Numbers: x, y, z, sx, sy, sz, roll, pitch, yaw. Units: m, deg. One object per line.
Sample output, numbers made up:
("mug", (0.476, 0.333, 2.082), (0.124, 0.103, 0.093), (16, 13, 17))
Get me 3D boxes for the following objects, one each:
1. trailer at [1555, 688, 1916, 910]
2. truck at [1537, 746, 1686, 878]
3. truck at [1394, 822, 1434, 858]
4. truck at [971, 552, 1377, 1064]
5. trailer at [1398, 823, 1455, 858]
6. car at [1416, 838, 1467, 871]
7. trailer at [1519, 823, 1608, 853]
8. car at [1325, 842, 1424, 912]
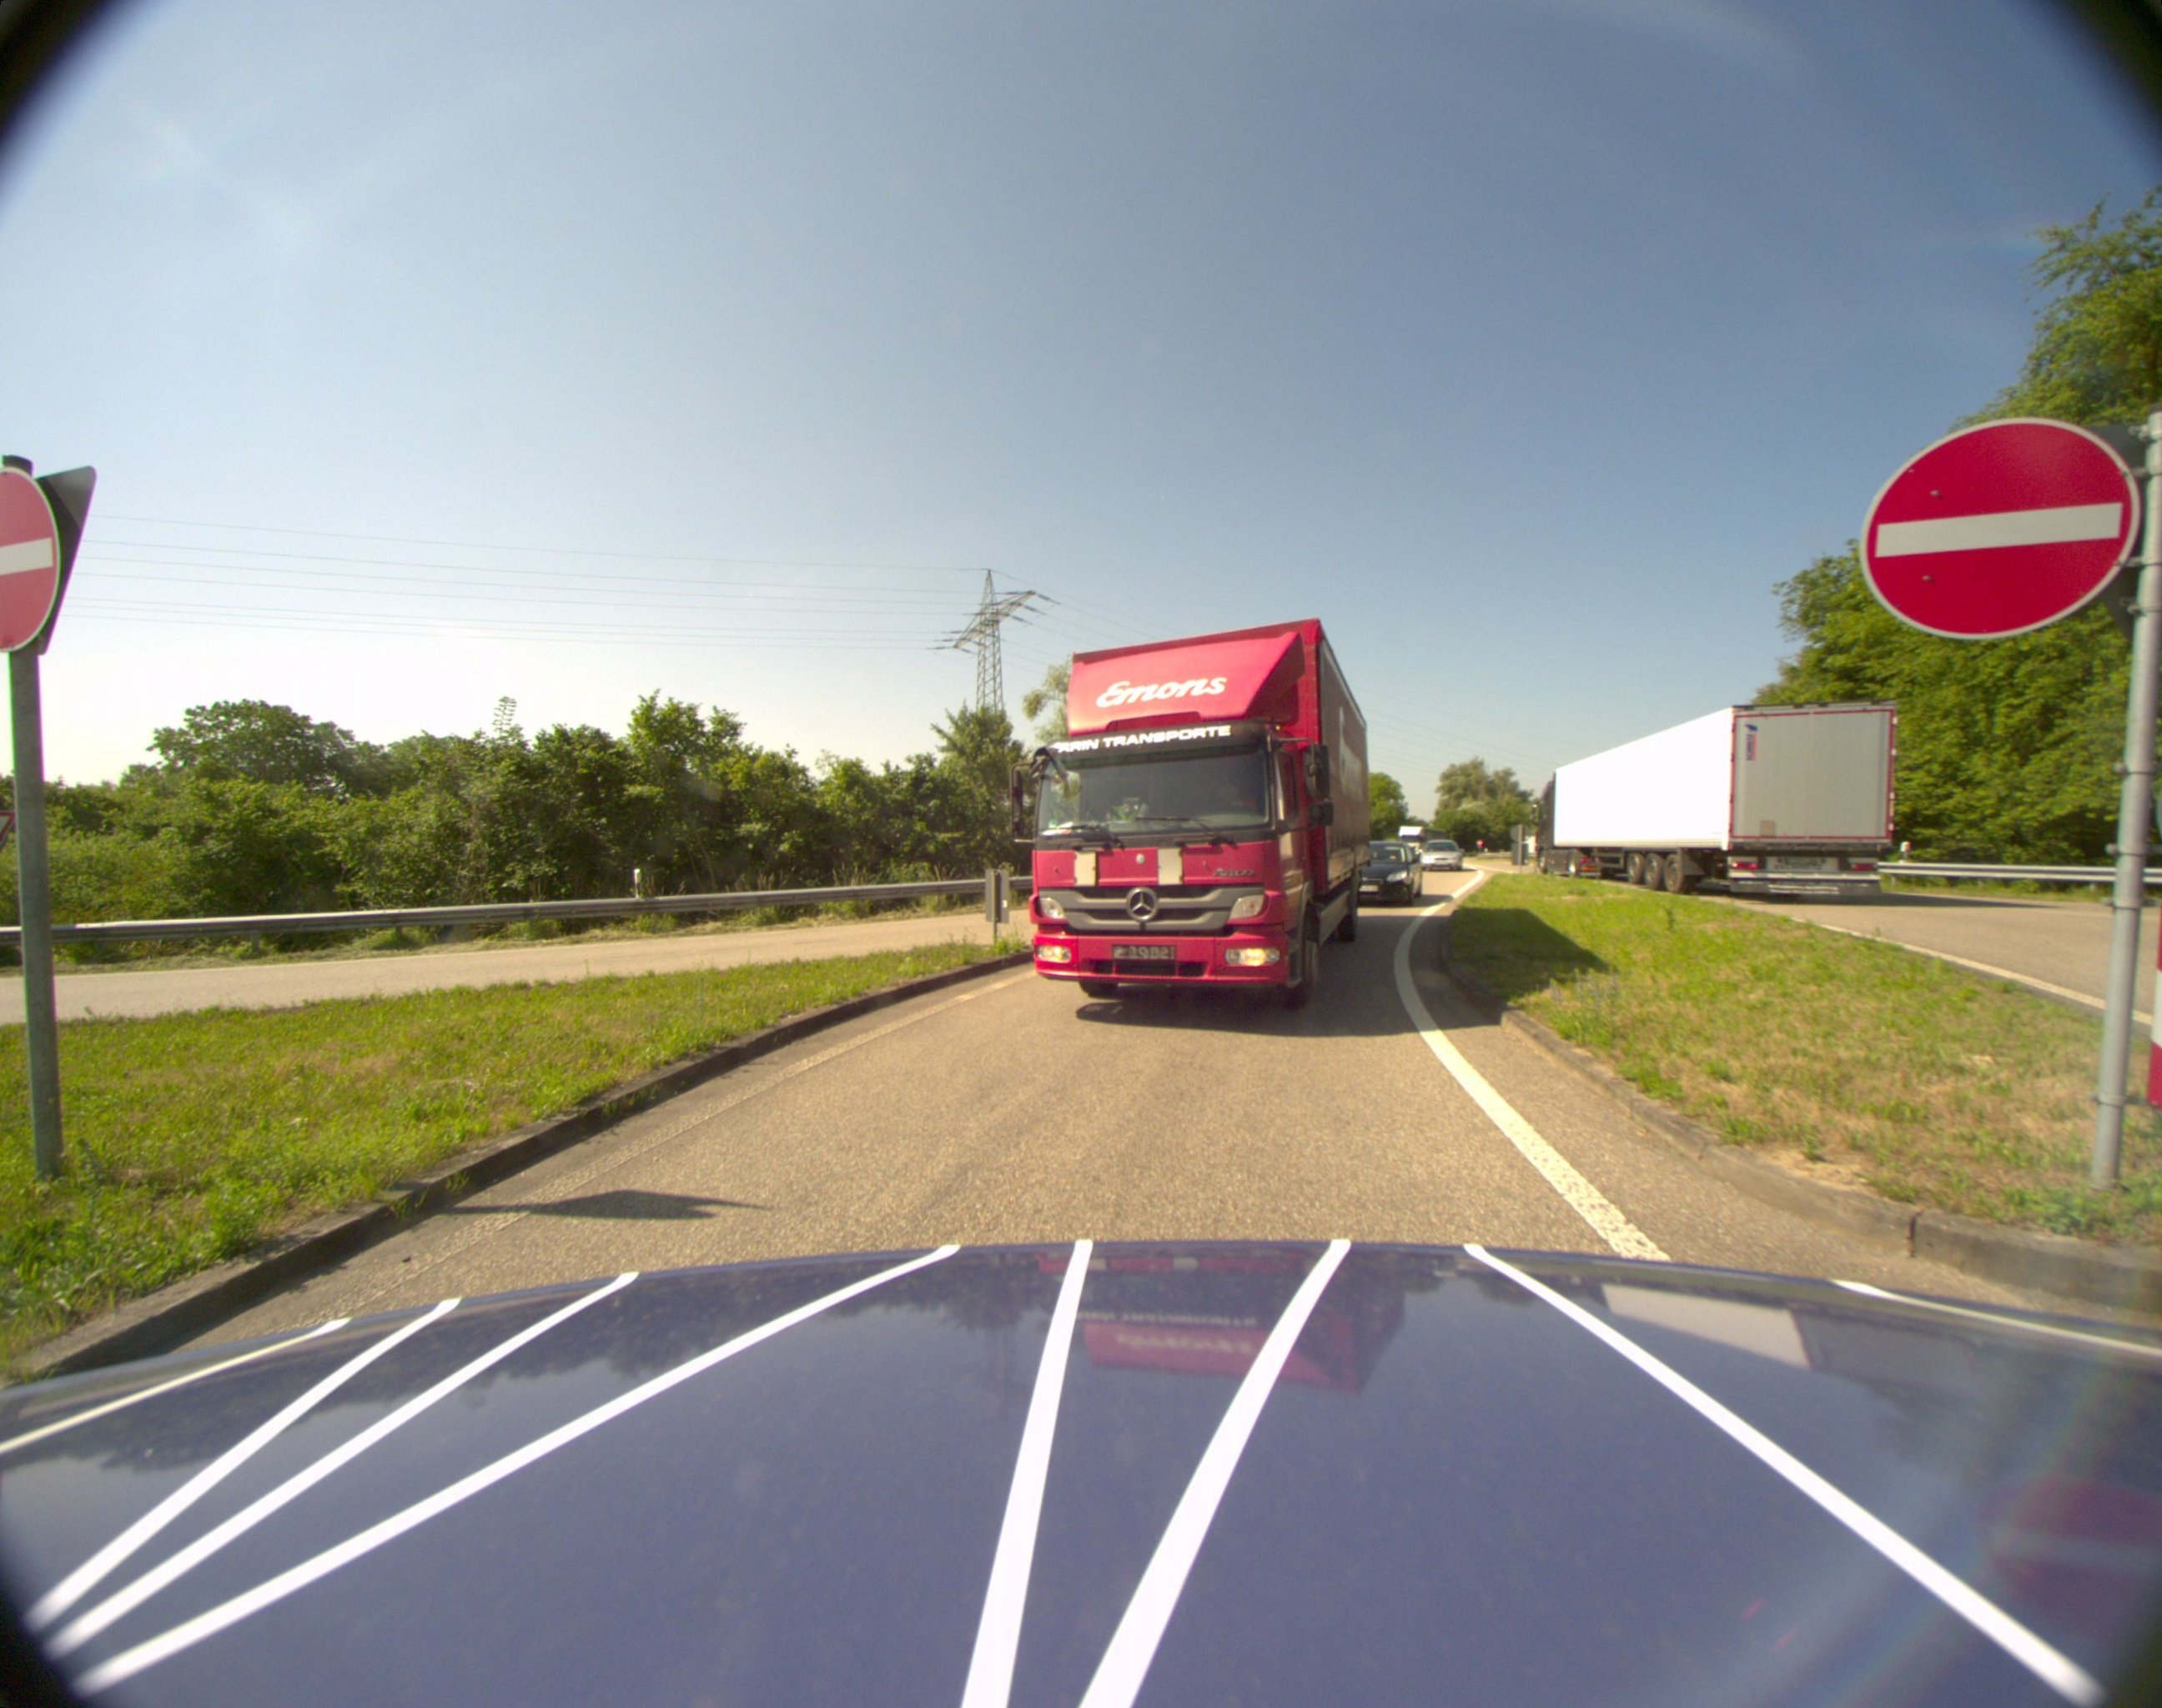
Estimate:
("trailer", (16.647, -1.208, 21.266), (2.890, 4.142, 13.997), (-1, 1, 20))
("truck", (18.892, -1.403, 27.531), (2.874, 4.150, 5.978), (-2, 1, 20))
("truck", (40.613, -1.744, 92.662), (2.932, 4.214, 5.744), (2, 3, 40))
("truck", (2.244, -0.409, 10.182), (2.685, 3.641, 9.276), (-1, 1, 24))
("trailer", (44.568, -1.812, 97.513), (2.922, 4.216, 14.009), (2, 2, 40))
("car", (16.484, -0.028, 34.919), (1.784, 1.377, 4.384), (-1, 1, 22))
("trailer", (70.725, -2.299, 111.248), (13.994, 4.244, 2.953), (0, 2, -20))
("car", (7.073, 0.475, 18.072), (1.784, 1.406, 4.006), (-1, 1, 27))
